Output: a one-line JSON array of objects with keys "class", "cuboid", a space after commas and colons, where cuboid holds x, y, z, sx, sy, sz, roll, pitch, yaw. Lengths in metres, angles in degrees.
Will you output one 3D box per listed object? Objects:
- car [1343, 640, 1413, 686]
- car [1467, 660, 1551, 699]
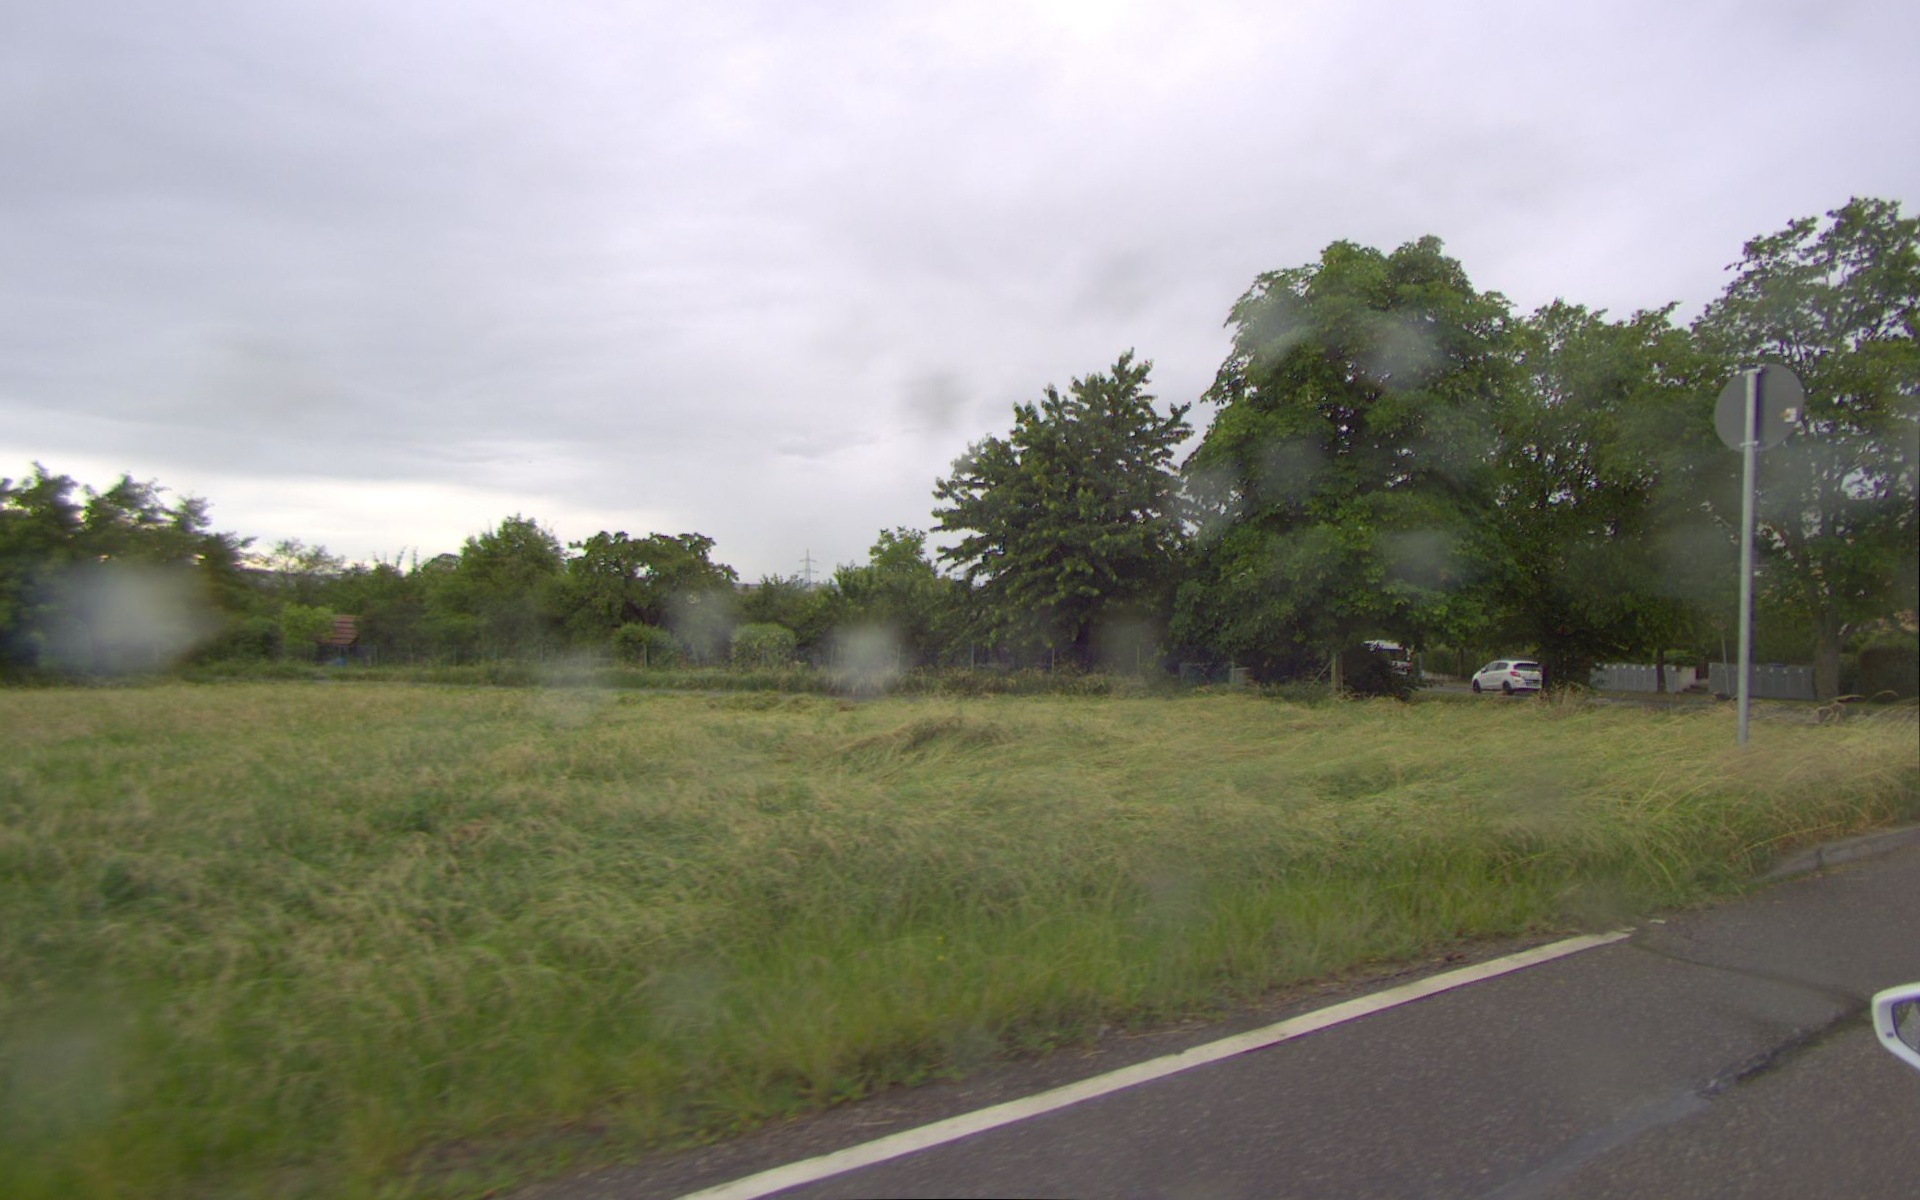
[{"class": "car", "cuboid": [24.473, 3.658, 58.975, 2.082, 2.499, 5.514, 2, -3, 4]}, {"class": "car", "cuboid": [23.741, 3.434, 43.595, 1.579, 1.522, 3.727, 2, -3, 0]}]
